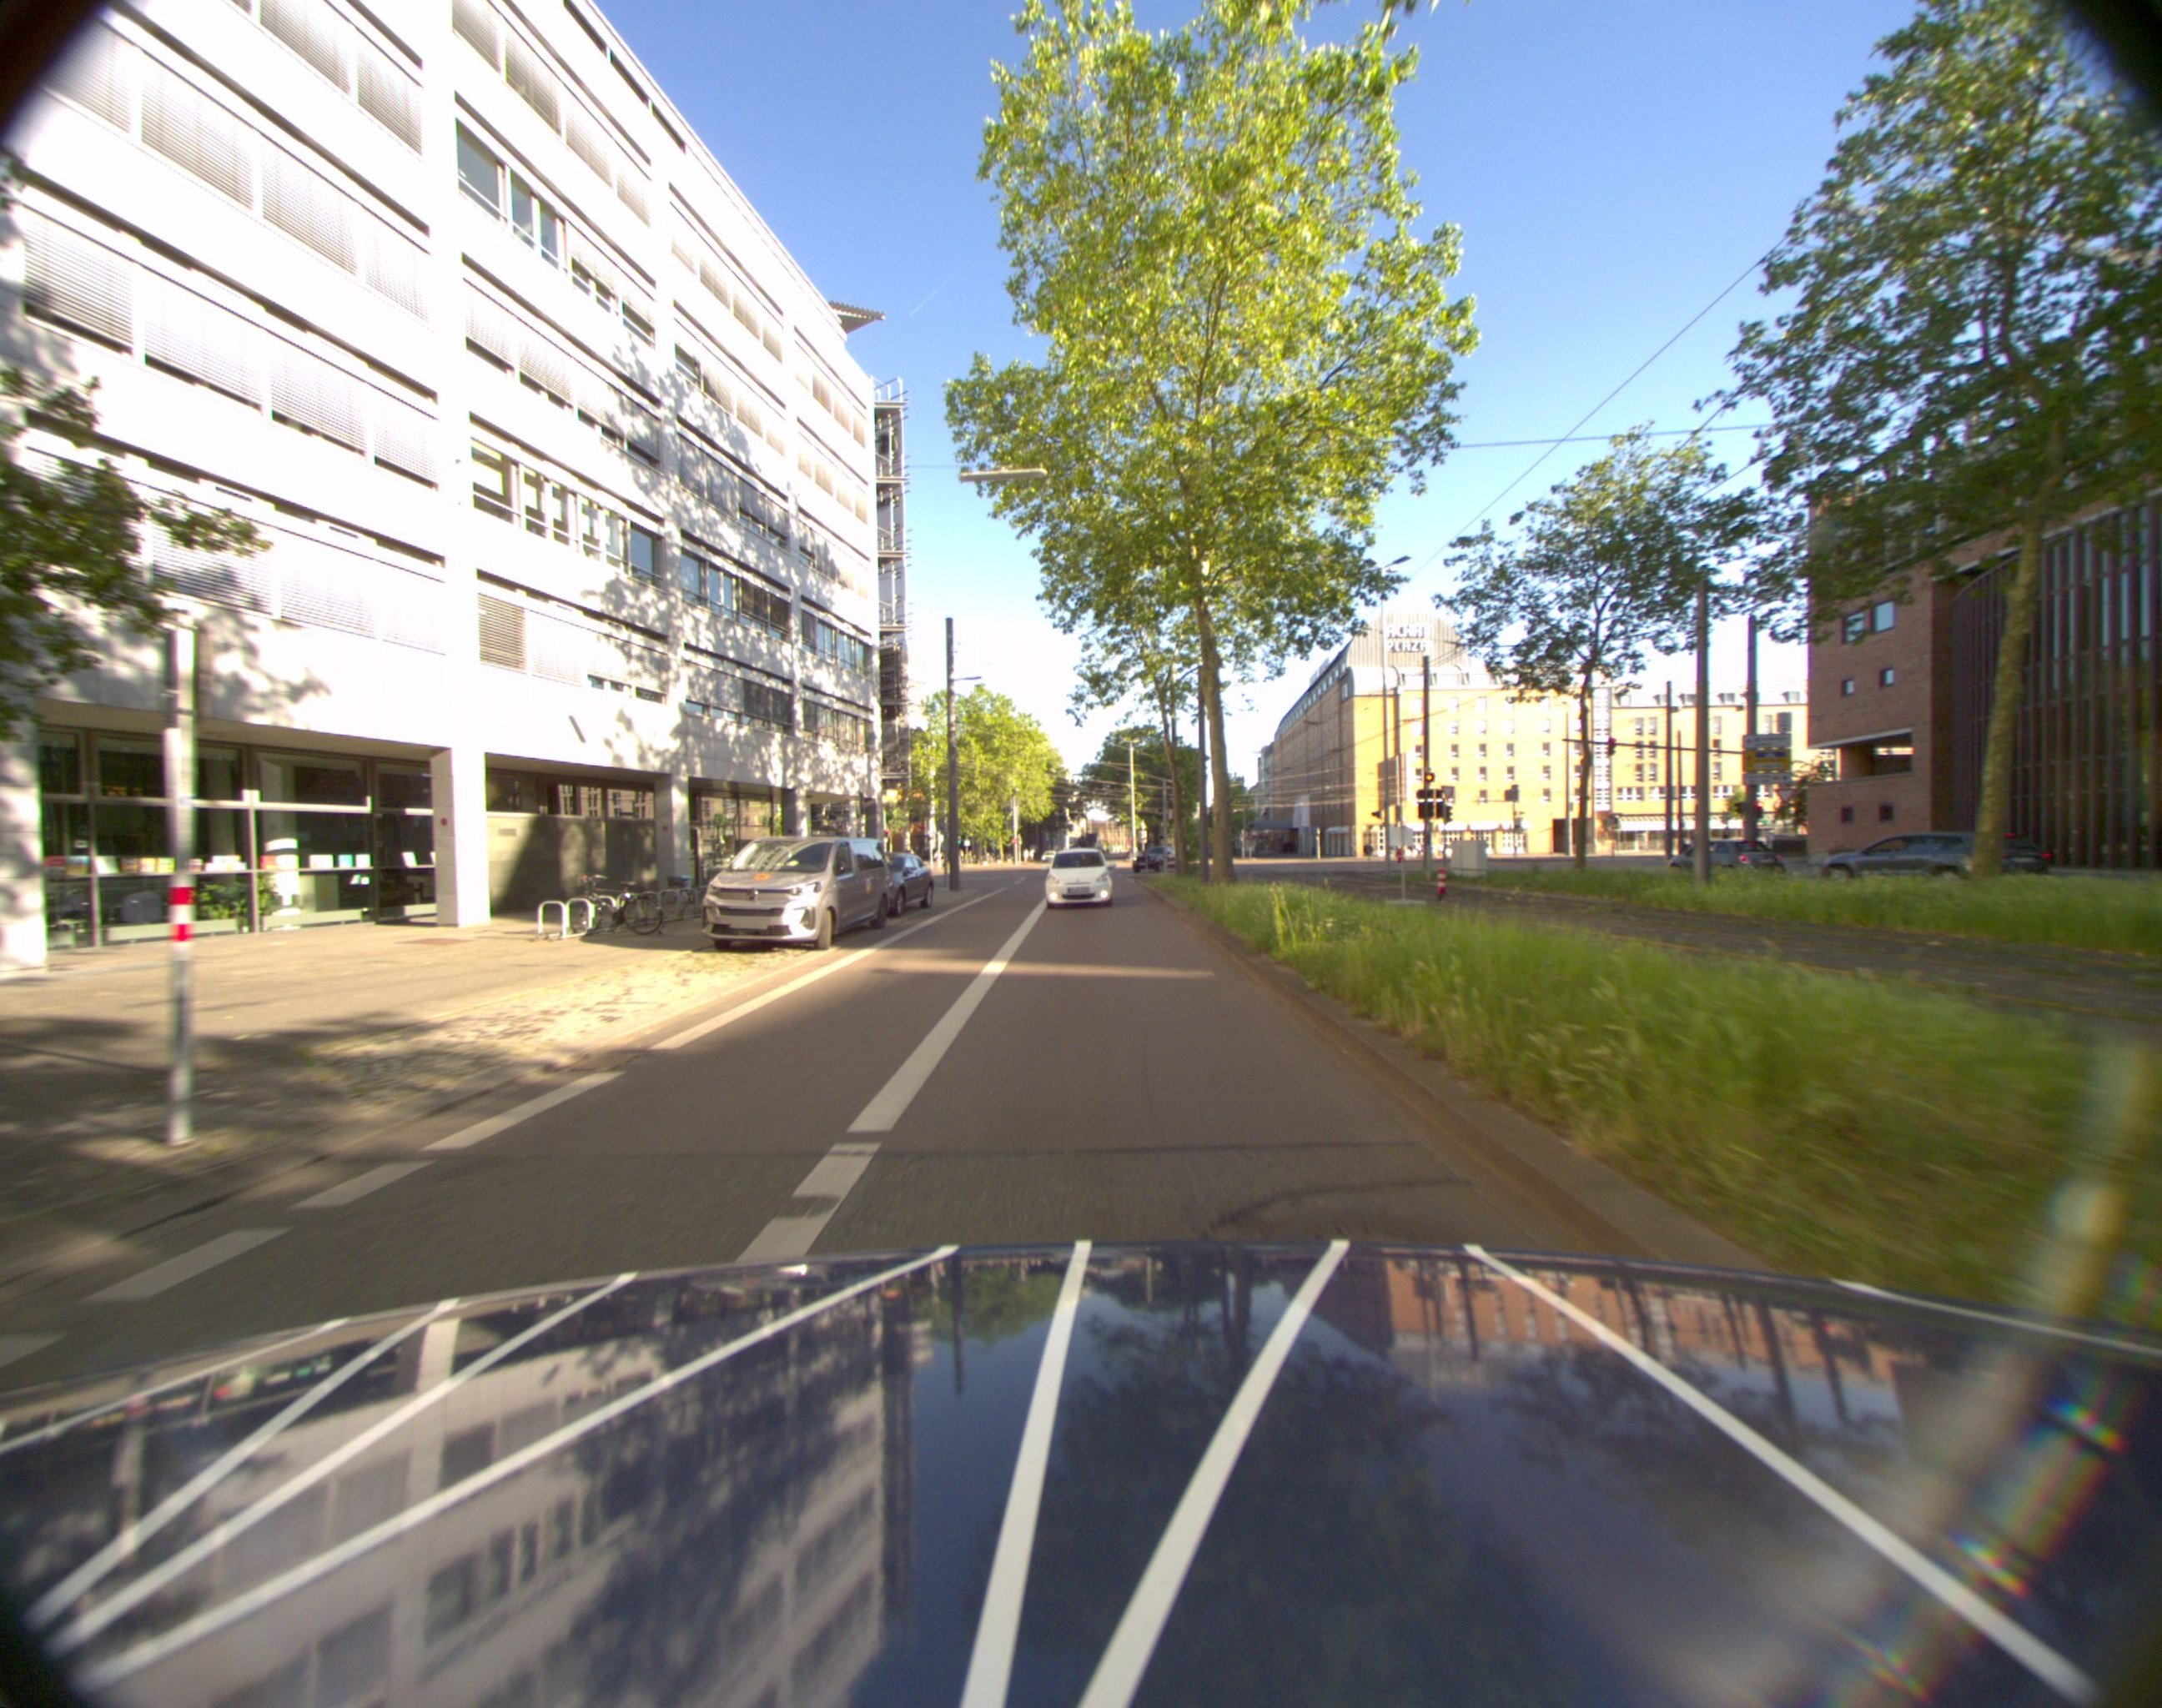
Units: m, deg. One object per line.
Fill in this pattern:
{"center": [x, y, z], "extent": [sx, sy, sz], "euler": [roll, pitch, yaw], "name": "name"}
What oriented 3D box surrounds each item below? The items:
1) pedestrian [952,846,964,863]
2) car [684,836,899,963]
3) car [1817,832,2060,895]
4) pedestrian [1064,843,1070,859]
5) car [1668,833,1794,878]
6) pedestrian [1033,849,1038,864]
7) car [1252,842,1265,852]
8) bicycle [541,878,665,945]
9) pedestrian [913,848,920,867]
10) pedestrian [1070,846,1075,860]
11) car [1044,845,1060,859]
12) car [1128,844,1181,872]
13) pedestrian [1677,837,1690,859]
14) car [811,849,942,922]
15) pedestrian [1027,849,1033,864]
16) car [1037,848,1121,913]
{"center": [-11.637, 0.014, 72.023], "extent": [0.983, 1.610, 0.610], "euler": [-1, 1, -2], "name": "pedestrian"}
{"center": [-4.919, 0.650, 13.799], "extent": [1.922, 1.894, 4.861], "euler": [0, 1, 2], "name": "car"}
{"center": [21.960, 0.197, 19.757], "extent": [1.675, 1.421, 4.149], "euler": [-1, 1, 1], "name": "car"}
{"center": [-1.756, -0.404, 96.204], "extent": [0.614, 2.002, 0.530], "euler": [-1, 1, 0], "name": "pedestrian"}
{"center": [22.360, 0.040, 26.296], "extent": [1.617, 1.421, 3.221], "euler": [-1, 1, 1], "name": "car"}
{"center": [-5.933, 0.308, 98.833], "extent": [0.614, 2.002, 0.530], "euler": [-1, 1, 0], "name": "pedestrian"}
{"center": [31.781, -1.237, 136.393], "extent": [1.703, 1.641, 4.001], "euler": [-2, 1, 5], "name": "car"}
{"center": [-8.627, 1.029, 13.755], "extent": [1.777, 1.100, 0.666], "euler": [-1, 1, 0], "name": "bicycle"}
{"center": [-15.539, 0.339, 71.868], "extent": [0.610, 1.734, 0.667], "euler": [-2, 1, -10], "name": "pedestrian"}
{"center": [-1.183, -0.191, 107.341], "extent": [0.653, 2.002, 0.742], "euler": [-1, 1, 0], "name": "pedestrian"}
{"center": [-3.704, -0.282, 98.745], "extent": [1.865, 1.724, 4.018], "euler": [-1, 1, 1], "name": "car"}
{"center": [4.830, 0.244, 49.333], "extent": [1.995, 1.626, 4.459], "euler": [-1, 1, 25], "name": "car"}
{"center": [41.982, -0.433, 52.925], "extent": [0.566, 1.495, 0.512], "euler": [-1, 0, 24], "name": "pedestrian"}
{"center": [-5.054, 0.709, 19.430], "extent": [1.921, 1.632, 4.018], "euler": [0, 1, 6], "name": "car"}
{"center": [-6.578, 0.311, 98.569], "extent": [0.655, 2.002, 0.646], "euler": [-2, 1, -9], "name": "pedestrian"}
{"center": [0.069, 0.628, 20.574], "extent": [1.720, 1.443, 4.426], "euler": [-4, 0, 6], "name": "car"}
